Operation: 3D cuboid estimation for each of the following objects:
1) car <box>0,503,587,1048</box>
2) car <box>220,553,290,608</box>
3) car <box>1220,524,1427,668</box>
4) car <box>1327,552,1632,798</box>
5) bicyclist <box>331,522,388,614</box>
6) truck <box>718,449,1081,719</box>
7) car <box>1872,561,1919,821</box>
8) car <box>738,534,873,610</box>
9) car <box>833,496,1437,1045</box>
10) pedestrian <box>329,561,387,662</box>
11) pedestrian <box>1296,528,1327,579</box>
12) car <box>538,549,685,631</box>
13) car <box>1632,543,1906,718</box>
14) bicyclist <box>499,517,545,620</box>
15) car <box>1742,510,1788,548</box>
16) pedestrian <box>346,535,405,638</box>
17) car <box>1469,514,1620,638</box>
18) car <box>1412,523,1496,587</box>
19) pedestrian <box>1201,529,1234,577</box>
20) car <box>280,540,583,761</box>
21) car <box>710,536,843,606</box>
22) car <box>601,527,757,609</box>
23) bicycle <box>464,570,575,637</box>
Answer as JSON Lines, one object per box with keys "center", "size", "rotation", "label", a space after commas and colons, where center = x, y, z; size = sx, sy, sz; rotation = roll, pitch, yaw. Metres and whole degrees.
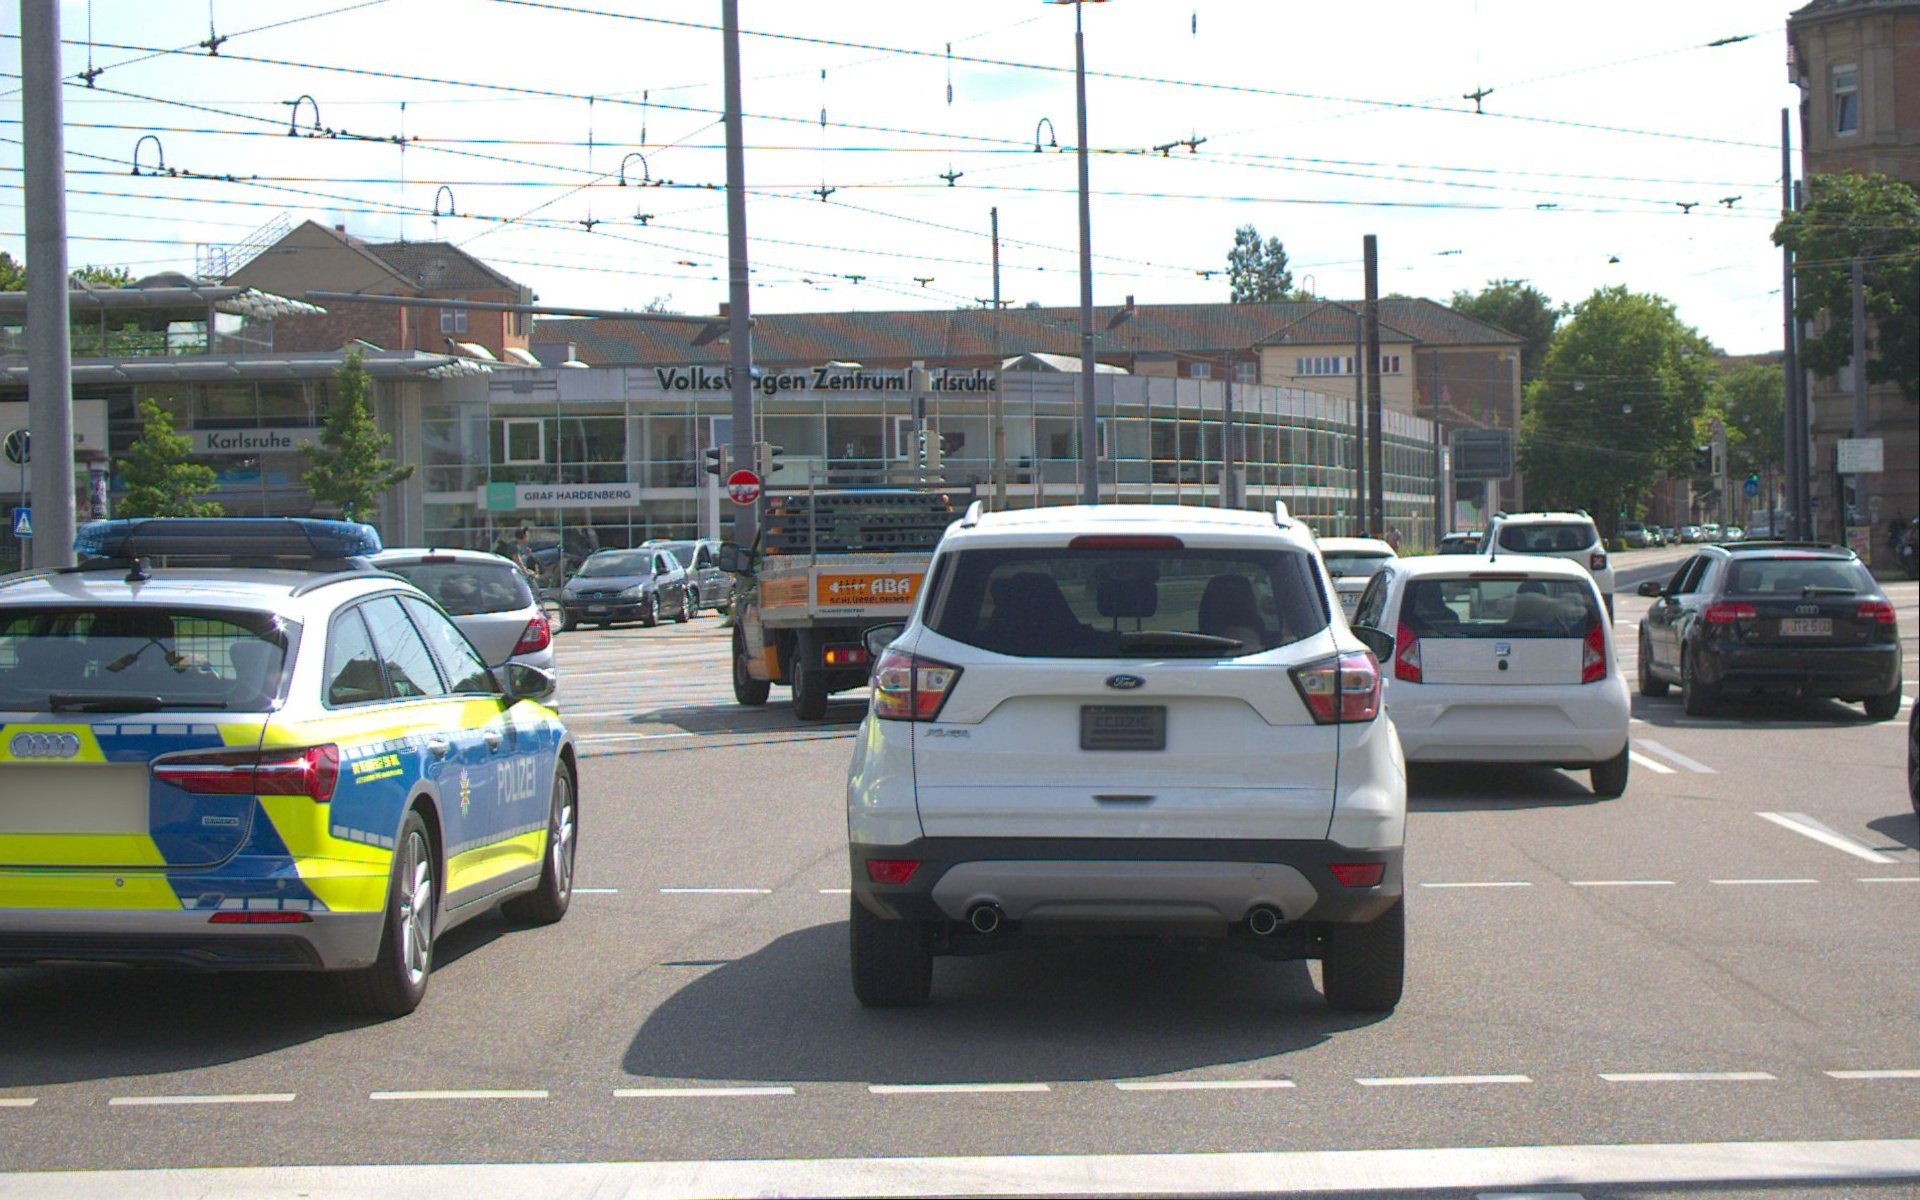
{"center": [-2.630, 0.506, 12.262], "size": [1.880, 1.563, 4.615], "rotation": [-1, 0, 3], "label": "car"}
{"center": [-21.386, -0.577, 104.419], "size": [1.818, 1.528, 3.918], "rotation": [-3, 0, -8], "label": "car"}
{"center": [3.724, -0.061, 35.768], "size": [1.850, 1.414, 3.679], "rotation": [0, 1, 1], "label": "car"}
{"center": [3.327, 0.423, 22.622], "size": [1.649, 1.417, 4.000], "rotation": [1, 1, 4], "label": "car"}
{"center": [-11.117, -0.592, 63.646], "size": [0.759, 1.677, 0.760], "rotation": [-2, 1, 10], "label": "bicyclist"}
{"center": [-0.678, -0.148, 30.491], "size": [2.338, 2.148, 5.853], "rotation": [0, 0, -10], "label": "truck"}
{"center": [6.303, 0.523, 17.868], "size": [1.930, 1.450, 4.759], "rotation": [-1, 1, 1], "label": "car"}
{"center": [-3.144, -0.599, 70.835], "size": [1.690, 1.456, 3.966], "rotation": [-2, 1, 14], "label": "car"}
{"center": [0.513, 0.504, 12.416], "size": [1.827, 1.658, 3.956], "rotation": [0, 0, -1], "label": "car"}
{"center": [-10.449, 0.198, 59.668], "size": [0.923, 1.738, 0.589], "rotation": [1, 0, -16], "label": "pedestrian"}
{"center": [13.343, -1.769, 130.419], "size": [0.876, 1.916, 0.875], "rotation": [1, 0, 29], "label": "pedestrian"}
{"center": [-6.371, -0.201, 63.184], "size": [1.738, 1.368, 3.640], "rotation": [-2, 1, 10], "label": "car"}
{"center": [6.894, 0.212, 29.666], "size": [1.699, 1.367, 4.132], "rotation": [-1, 1, 5], "label": "car"}
{"center": [-7.413, -0.540, 58.226], "size": [0.660, 1.732, 0.640], "rotation": [0, 1, 2], "label": "bicyclist"}
{"center": [36.317, -3.183, 155.051], "size": [1.838, 1.646, 3.997], "rotation": [0, 0, 16], "label": "car"}
{"center": [-10.056, -0.231, 59.103], "size": [0.923, 1.738, 0.589], "rotation": [1, 0, -15], "label": "pedestrian"}
{"center": [8.057, -0.325, 47.660], "size": [1.837, 1.646, 3.999], "rotation": [0, 0, 7], "label": "car"}
{"center": [11.239, -1.022, 78.115], "size": [1.850, 1.414, 3.678], "rotation": [0, 1, 9], "label": "car"}
{"center": [9.353, -1.702, 124.743], "size": [0.877, 1.731, 0.875], "rotation": [1, 0, 32], "label": "pedestrian"}
{"center": [-3.986, 0.311, 25.446], "size": [1.847, 1.469, 4.001], "rotation": [-1, 1, -14], "label": "car"}
{"center": [-4.144, -0.681, 78.201], "size": [1.627, 1.456, 3.965], "rotation": [-2, 1, 18], "label": "car"}
{"center": [-5.797, -0.677, 71.299], "size": [1.739, 1.568, 3.997], "rotation": [-2, 1, 19], "label": "car"}
{"center": [-7.460, 0.055, 58.277], "size": [1.778, 1.121, 0.640], "rotation": [0, 1, 3], "label": "bicycle"}
